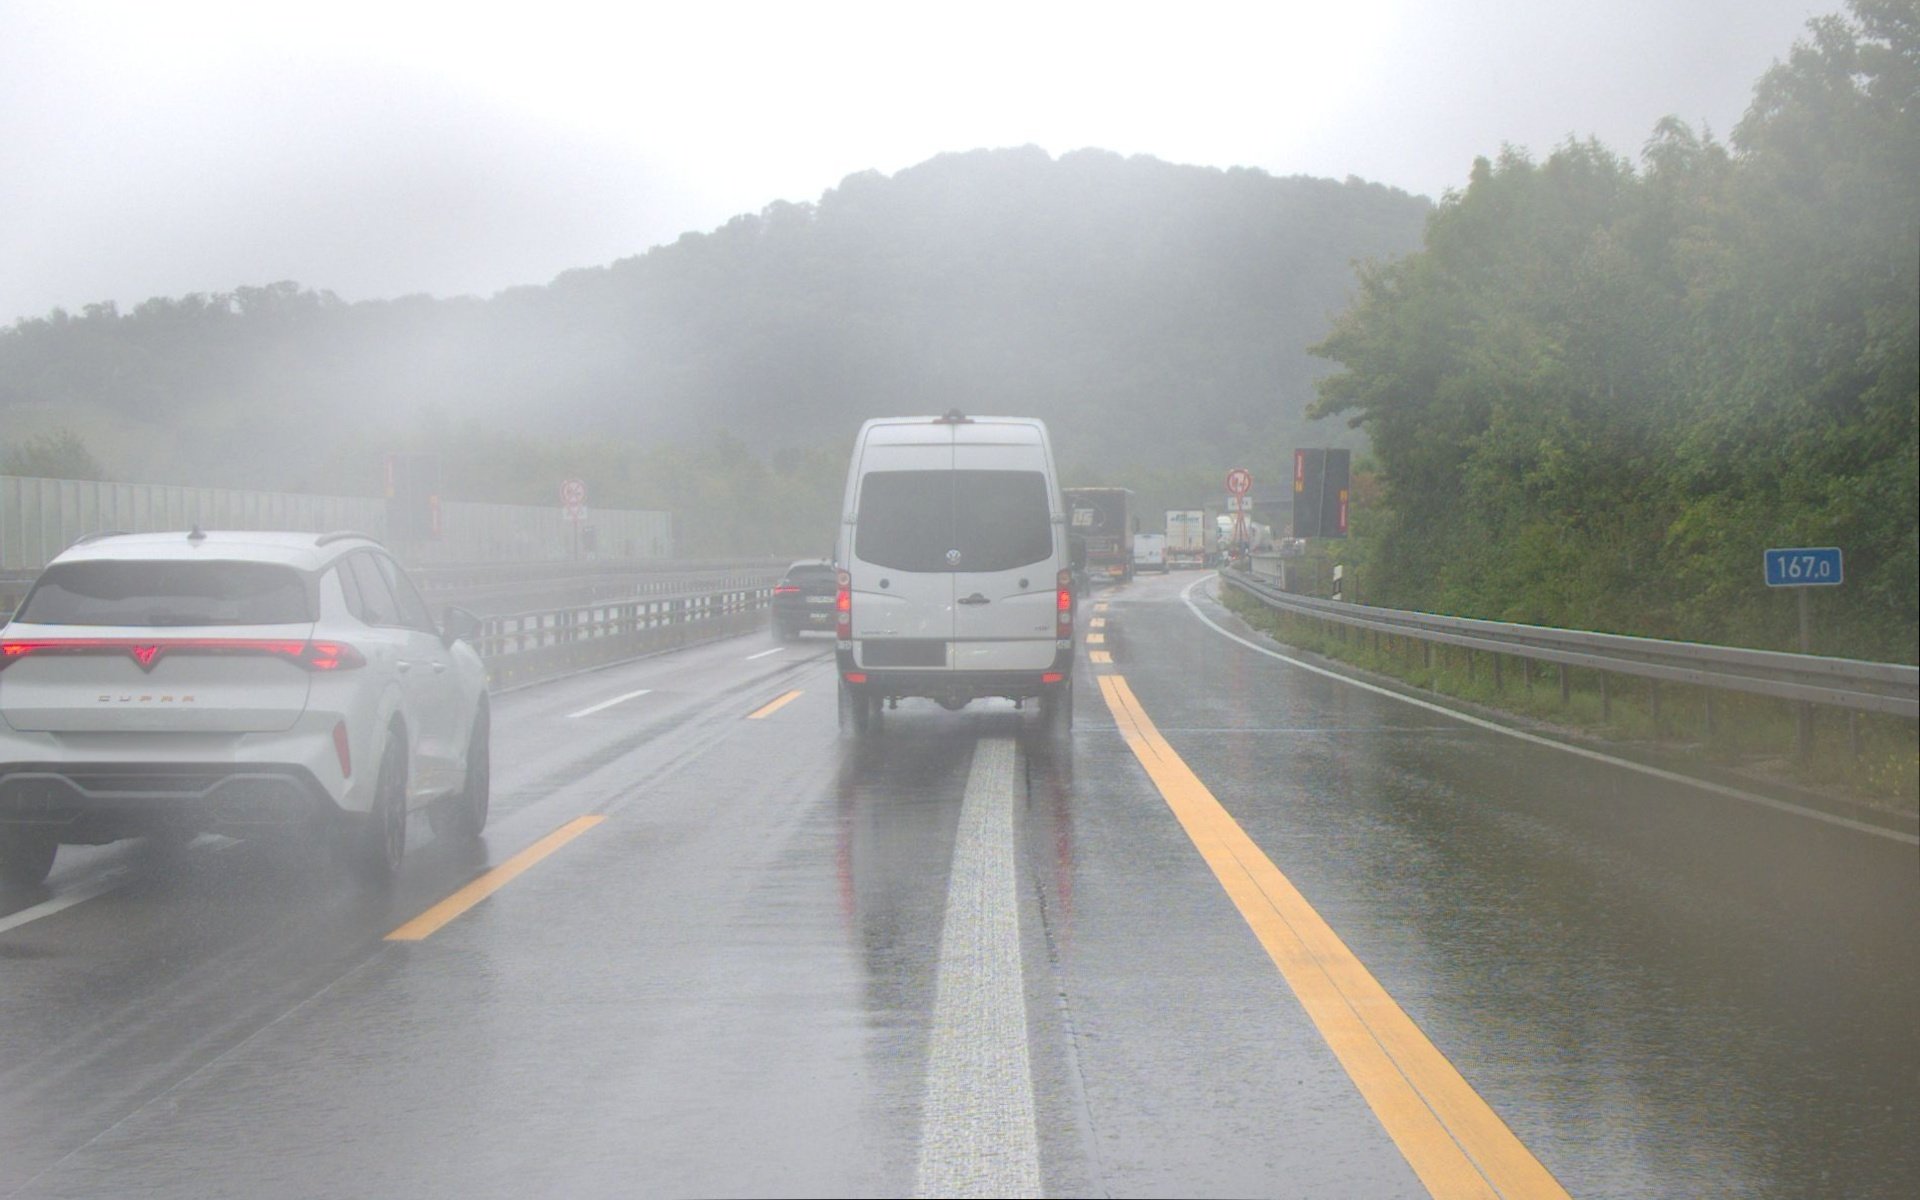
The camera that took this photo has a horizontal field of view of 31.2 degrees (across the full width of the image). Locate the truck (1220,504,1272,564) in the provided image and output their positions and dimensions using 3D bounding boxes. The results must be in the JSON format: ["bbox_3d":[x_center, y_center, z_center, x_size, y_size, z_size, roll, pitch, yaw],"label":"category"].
[{"bbox_3d":[21.732,-4.968,260.806,2.900,4.391,9.619,1,1,11],"label":"truck"}]

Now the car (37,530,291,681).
[{"bbox_3d":[-8.978,0.039,39.111,1.778,1.599,4.316,1,1,1],"label":"car"}]

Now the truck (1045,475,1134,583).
[{"bbox_3d":[5.537,-2.950,145.176,3.581,4.391,9.623,1,1,3],"label":"truck"}]

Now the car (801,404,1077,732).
[{"bbox_3d":[-0.139,-0.280,29.868,2.145,2.562,5.390,1,1,1],"label":"car"}]

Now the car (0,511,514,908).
[{"bbox_3d":[-3.432,0.422,16.505,1.993,1.612,4.797,1,1,-1],"label":"car"}]

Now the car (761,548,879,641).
[{"bbox_3d":[-2.485,-0.112,60.275,1.946,1.556,4.001,1,1,-4],"label":"car"}]

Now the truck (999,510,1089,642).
[{"bbox_3d":[2.154,-0.614,86.128,1.994,3.098,8.498,1,1,3],"label":"truck"}]

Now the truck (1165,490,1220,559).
[{"bbox_3d":[15.494,-4.976,228.718,3.037,4.391,9.621,1,1,7],"label":"truck"}]

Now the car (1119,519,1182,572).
[{"bbox_3d":[10.664,-3.019,192.244,2.899,2.877,6.409,1,1,8],"label":"car"}]
